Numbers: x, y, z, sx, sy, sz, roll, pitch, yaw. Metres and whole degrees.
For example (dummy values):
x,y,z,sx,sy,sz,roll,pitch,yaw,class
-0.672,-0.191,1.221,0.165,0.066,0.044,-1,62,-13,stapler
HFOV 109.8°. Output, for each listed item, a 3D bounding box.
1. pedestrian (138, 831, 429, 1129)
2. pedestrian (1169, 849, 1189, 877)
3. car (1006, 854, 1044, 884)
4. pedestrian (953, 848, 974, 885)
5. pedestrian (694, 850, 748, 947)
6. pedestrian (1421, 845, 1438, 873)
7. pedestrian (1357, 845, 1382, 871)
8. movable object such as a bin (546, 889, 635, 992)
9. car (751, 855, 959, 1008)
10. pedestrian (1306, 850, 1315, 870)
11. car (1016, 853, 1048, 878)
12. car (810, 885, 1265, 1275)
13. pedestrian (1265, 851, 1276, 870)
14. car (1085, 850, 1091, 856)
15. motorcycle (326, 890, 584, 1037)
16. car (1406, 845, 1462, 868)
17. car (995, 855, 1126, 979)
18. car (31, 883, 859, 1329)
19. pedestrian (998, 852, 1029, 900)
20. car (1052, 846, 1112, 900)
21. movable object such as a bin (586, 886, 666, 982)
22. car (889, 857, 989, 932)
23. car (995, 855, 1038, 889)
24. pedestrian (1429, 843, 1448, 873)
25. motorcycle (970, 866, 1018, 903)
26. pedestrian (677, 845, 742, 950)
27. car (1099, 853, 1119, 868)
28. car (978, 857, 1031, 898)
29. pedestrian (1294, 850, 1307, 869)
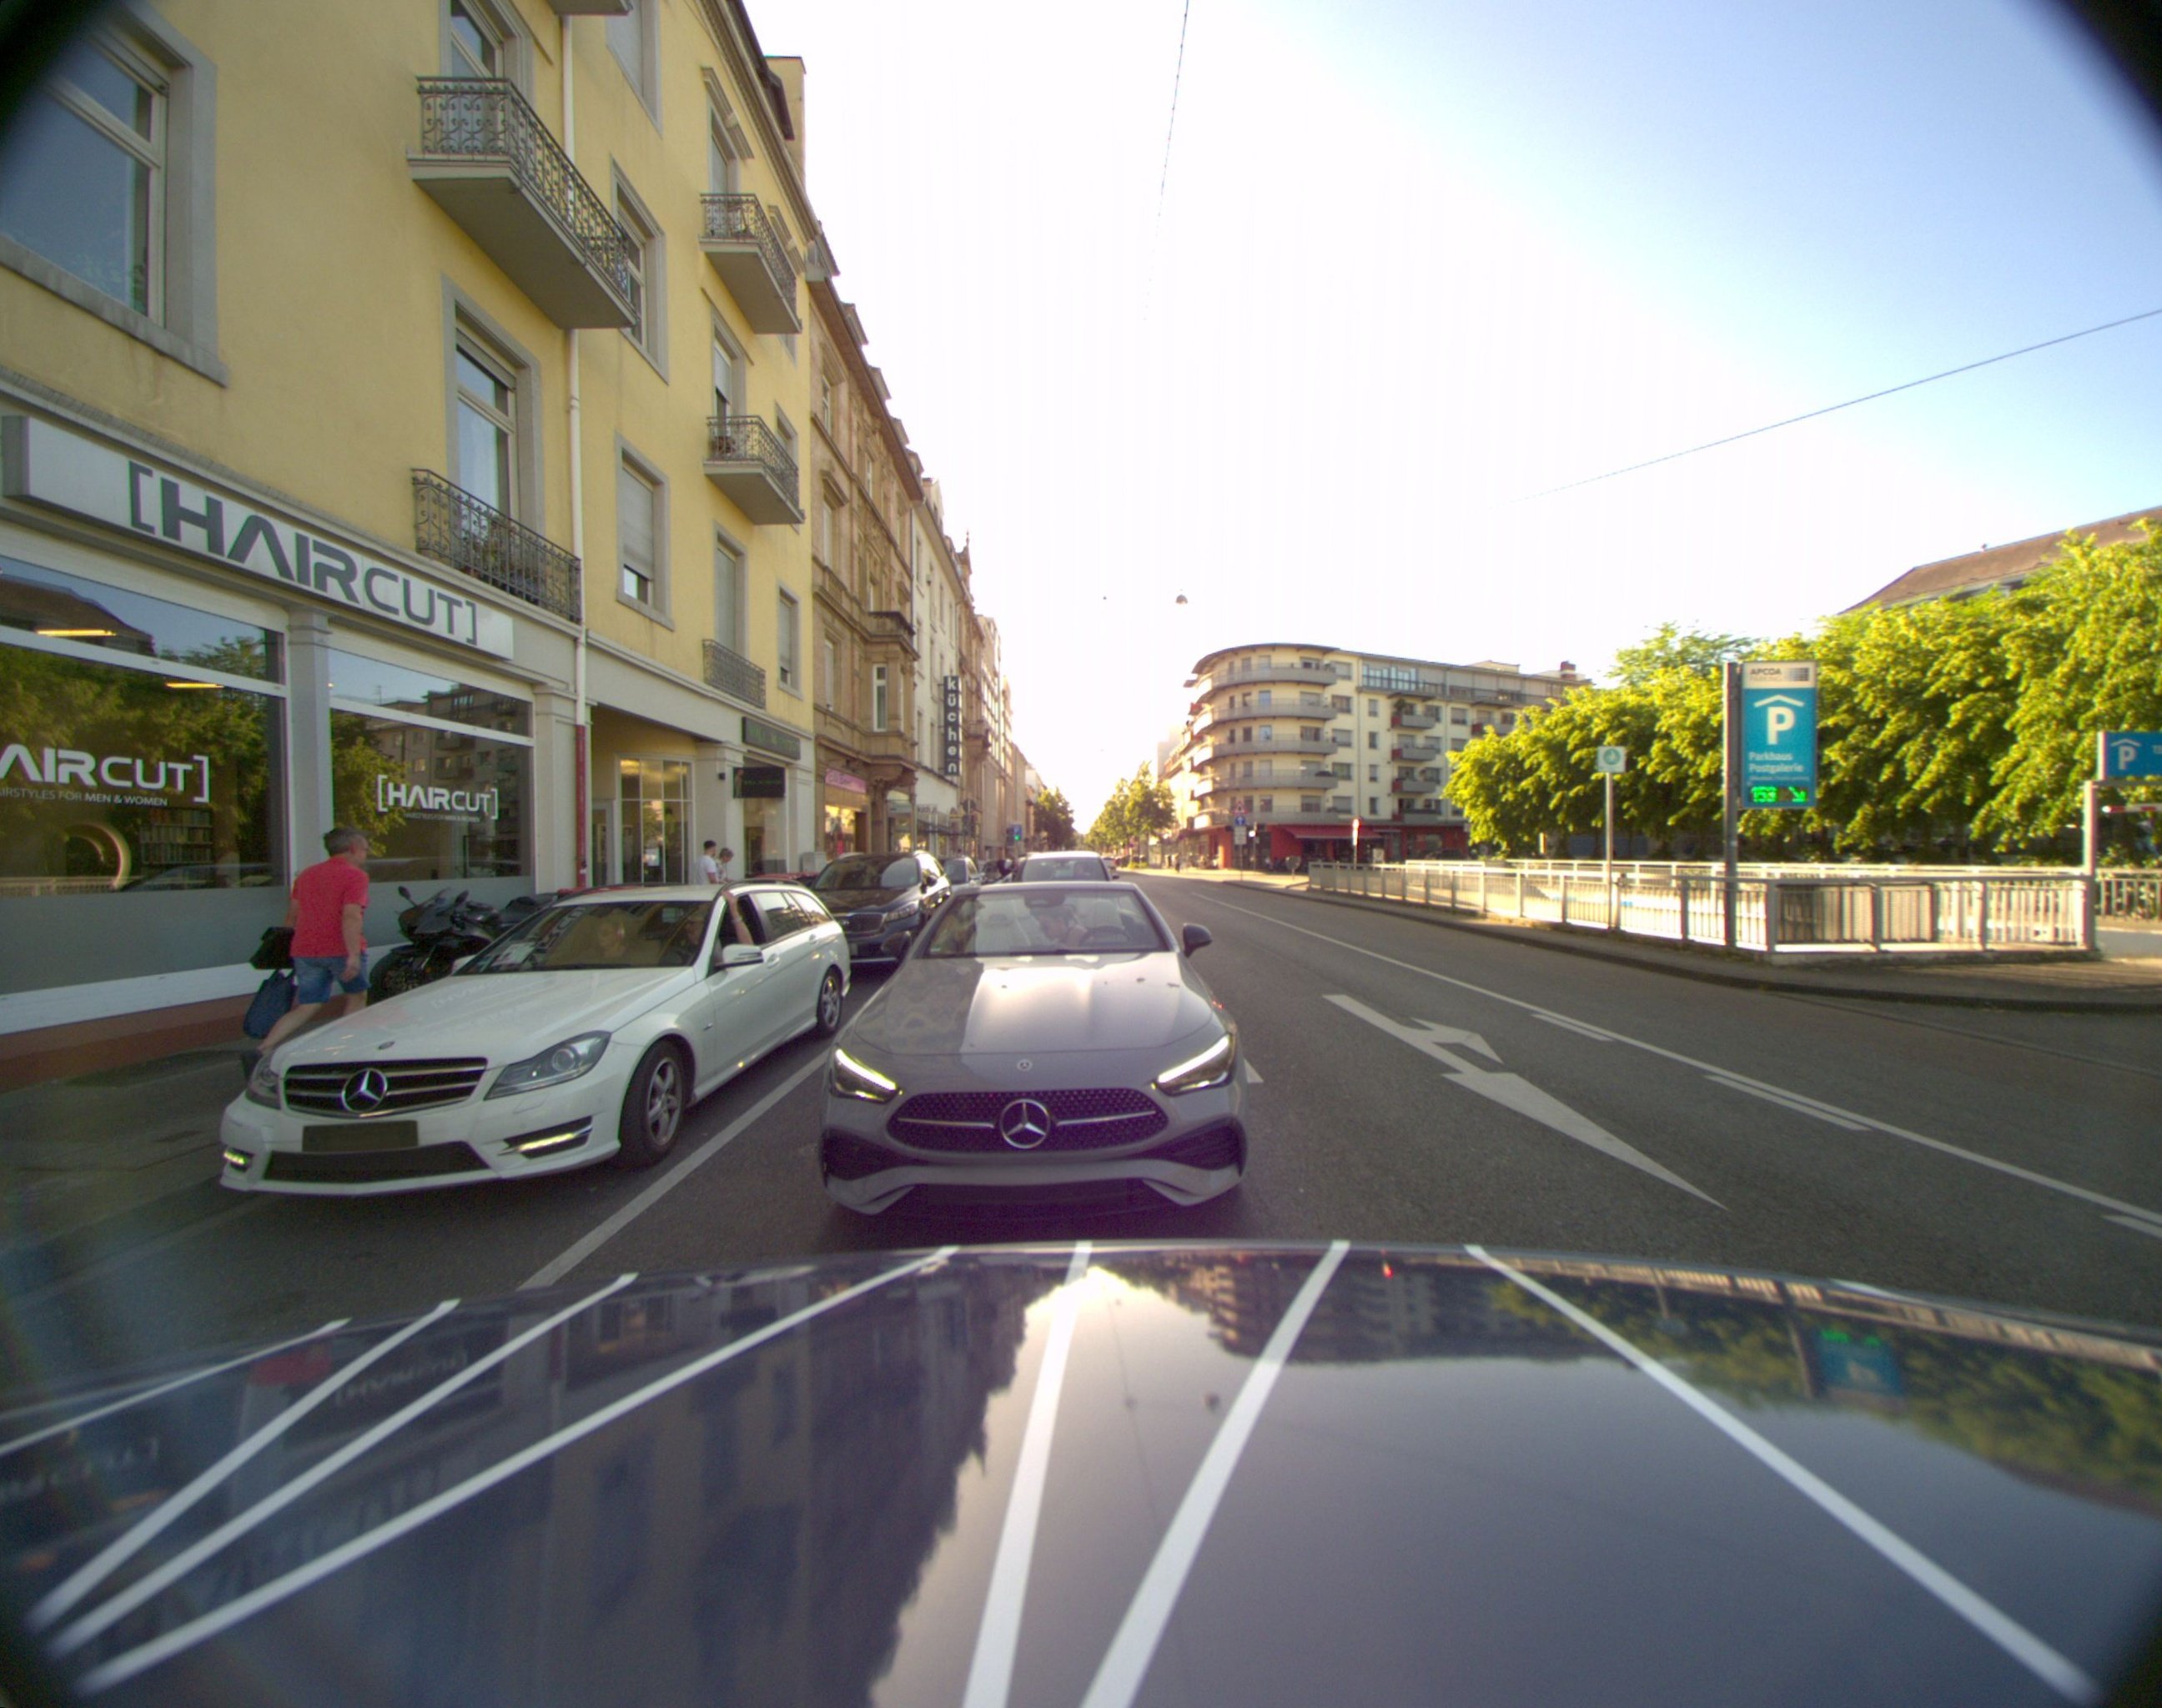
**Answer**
x,y,z,sx,sy,sz,roll,pitch,yaw,class
-5.228,0.753,5.069,0.866,1.774,1.008,2,1,-1,pedestrian
7.355,0.690,57.094,1.018,2.002,1.202,-1,1,35,pedestrian
-2.979,0.760,41.003,1.715,1.477,3.999,-1,0,0,car
-5.227,0.552,33.840,0.795,1.607,0.763,-1,1,-1,pedestrian
-6.174,0.745,13.057,0.572,1.607,0.643,-1,1,2,pedestrian
21.522,0.327,46.981,0.674,1.696,0.699,-2,1,-7,pedestrian
22.525,0.316,59.379,1.234,2.002,1.259,-2,1,-21,pedestrian
-6.106,1.060,9.492,0.647,1.200,0.644,-1,1,1,movable object such as a bin
-2.980,0.892,11.128,1.858,1.688,4.697,-1,0,-4,car
17.954,0.464,59.503,0.581,1.481,0.793,-1,1,13,pedestrian
-3.021,0.689,47.597,1.715,1.477,4.062,-1,0,0,car
-0.197,1.027,5.295,1.849,1.371,4.255,-2,0,-1,car
15.056,0.502,60.275,0.791,1.452,0.583,-1,1,10,pedestrian
2.411,-0.330,259.259,1.998,1.805,4.000,-1,0,1,car
-6.259,1.020,7.830,0.773,1.158,2.247,1,0,1,motorcycle
29.037,0.179,62.455,4.004,1.740,1.996,-2,1,-23,car
-0.248,0.848,12.181,1.716,1.599,4.000,-1,0,1,car
-3.069,1.041,5.178,1.759,1.453,4.597,-1,0,0,car
-2.381,0.766,26.971,0.692,1.657,0.836,-1,1,30,pedestrian
0.052,0.630,27.370,1.952,1.742,4.000,-1,0,1,car
-6.056,1.050,10.144,0.647,1.200,0.644,-1,1,1,movable object such as a bin
-3.270,0.895,18.018,1.696,1.559,3.018,-1,0,1,car
-3.047,0.810,36.485,1.715,1.477,3.999,-1,0,0,car
22.146,0.258,47.104,0.755,1.795,0.756,-2,1,-15,pedestrian
-3.054,1.045,26.792,0.769,1.225,1.546,-1,1,42,motorcycle
-5.870,0.673,12.043,0.642,1.607,0.701,-1,1,-1,pedestrian
2.804,0.669,77.078,1.802,1.426,4.251,-1,0,0,car
-3.026,0.908,30.733,1.715,1.477,3.999,-1,0,0,car
17.693,0.442,61.158,0.583,1.453,0.790,-2,1,-37,pedestrian
